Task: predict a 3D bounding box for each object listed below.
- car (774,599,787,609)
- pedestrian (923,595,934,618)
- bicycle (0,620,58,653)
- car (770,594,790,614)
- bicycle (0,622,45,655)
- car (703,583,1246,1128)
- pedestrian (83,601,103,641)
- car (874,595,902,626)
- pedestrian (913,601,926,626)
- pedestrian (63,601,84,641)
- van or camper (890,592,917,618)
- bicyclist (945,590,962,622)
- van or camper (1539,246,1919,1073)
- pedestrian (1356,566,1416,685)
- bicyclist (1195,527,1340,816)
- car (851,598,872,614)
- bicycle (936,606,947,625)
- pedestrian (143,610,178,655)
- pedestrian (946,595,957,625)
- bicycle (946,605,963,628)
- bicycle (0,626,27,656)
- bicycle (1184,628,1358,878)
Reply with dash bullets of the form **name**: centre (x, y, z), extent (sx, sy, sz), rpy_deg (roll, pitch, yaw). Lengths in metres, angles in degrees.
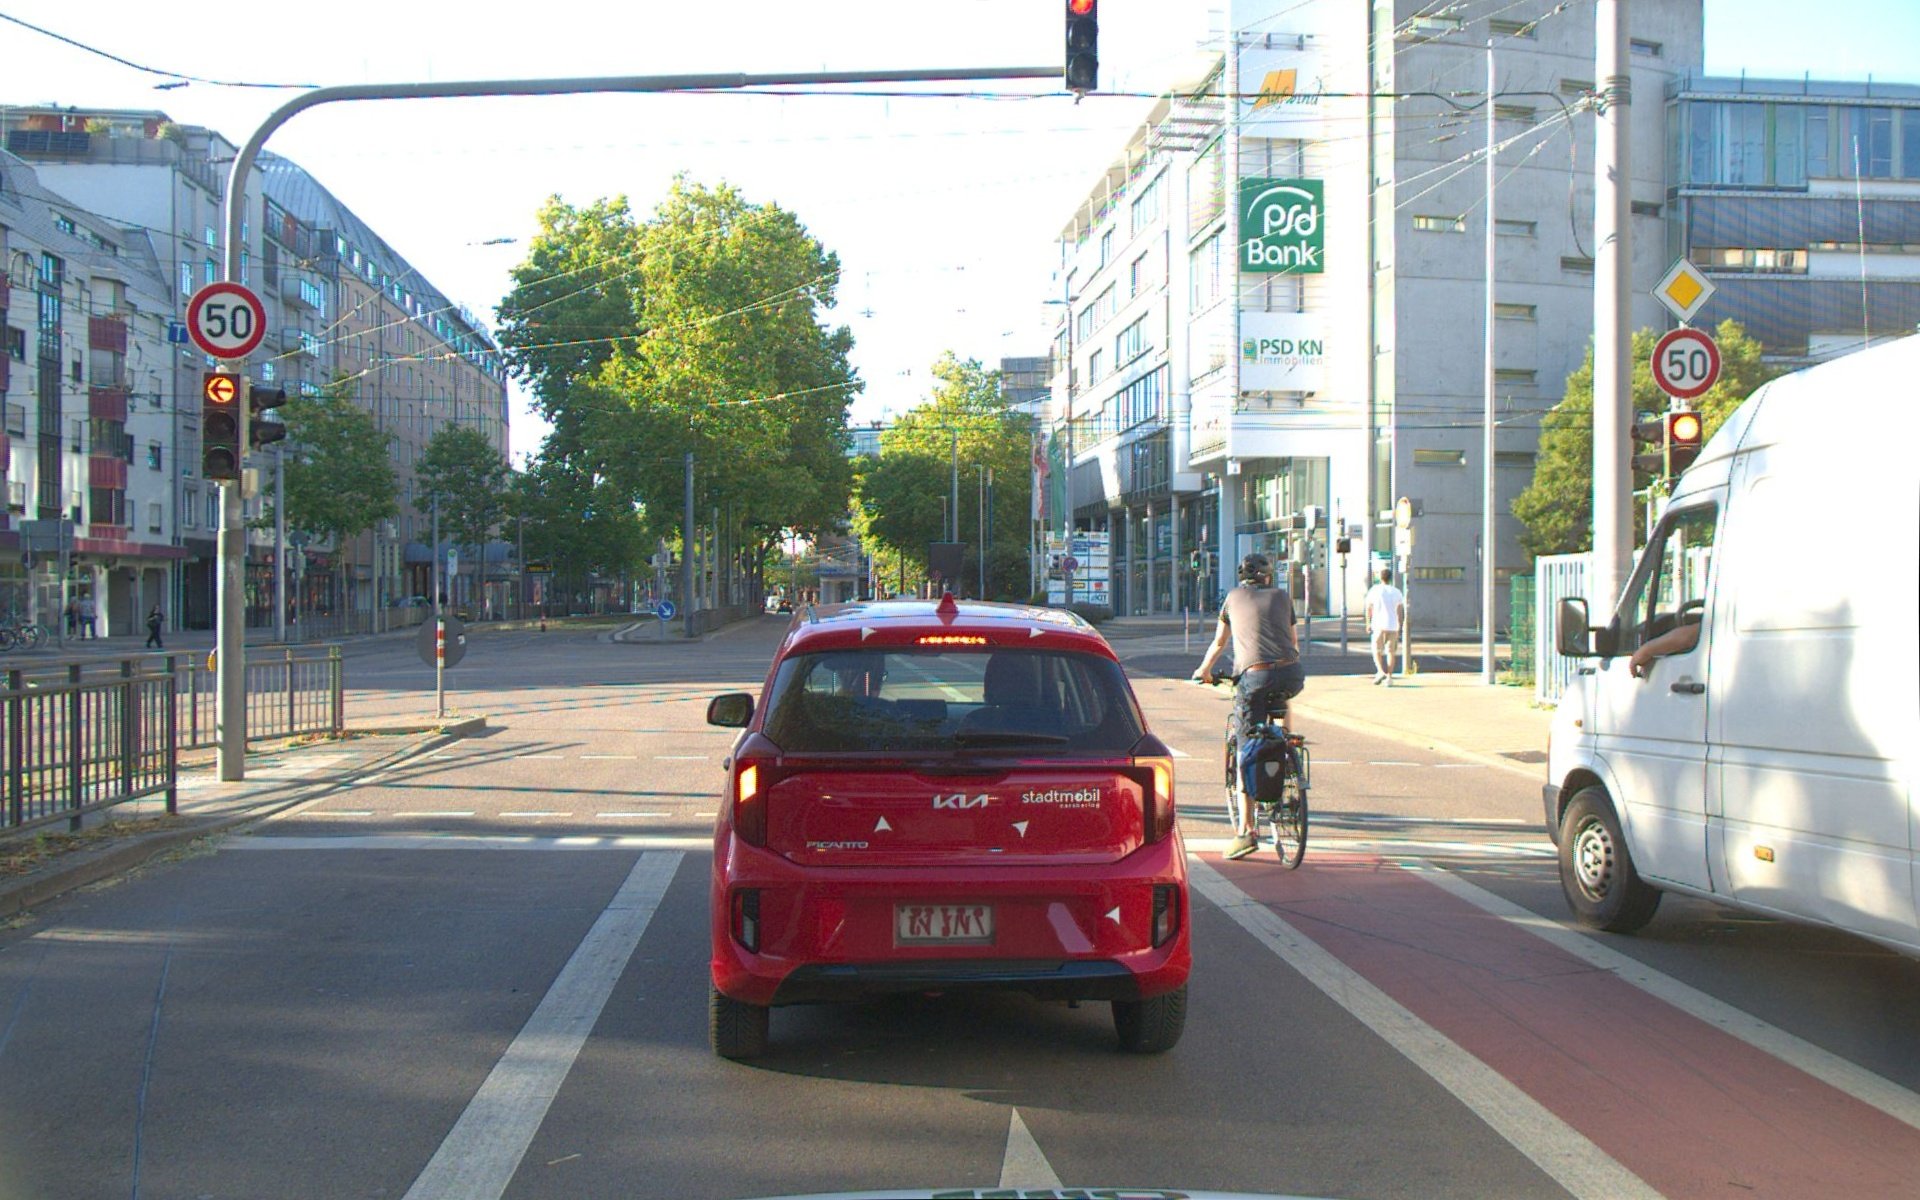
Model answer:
- **car**: centre (-27.766, 0.663, 255.404), extent (1.745, 1.561, 3.403), rpy_deg (0, 0, -10)
- **pedestrian**: centre (-2.462, 0.490, 130.291), extent (0.873, 1.783, 0.841), rpy_deg (0, 0, -1)
- **bicycle**: centre (-29.543, 1.153, 52.165), extent (1.808, 1.002, 0.552), rpy_deg (0, 0, -8)
- **car**: centre (-19.041, 0.441, 175.146), extent (1.956, 2.049, 3.992), rpy_deg (0, 0, -8)
- **bicycle**: centre (-29.600, 1.210, 51.549), extent (1.808, 1.002, 0.552), rpy_deg (0, 0, -8)
- **car**: centre (-0.099, 0.733, 6.520), extent (1.582, 1.561, 3.408), rpy_deg (0, 0, -5)
- **pedestrian**: centre (-33.336, 0.819, 63.600), extent (0.524, 1.520, 0.586), rpy_deg (0, 0, -9)
- **car**: centre (-4.413, 0.619, 101.144), extent (1.603, 1.831, 3.327), rpy_deg (-1, 0, -3)
- **pedestrian**: centre (-2.778, 0.925, 113.220), extent (0.628, 1.607, 0.724), rpy_deg (-4, 0, 18)
- **pedestrian**: centre (-34.024, 0.807, 63.465), extent (0.524, 1.520, 0.586), rpy_deg (0, 0, -9)
- **van or camper**: centre (-4.536, 0.410, 132.219), extent (1.954, 2.024, 4.740), rpy_deg (0, 0, -4)
- **bicyclist**: centre (-0.336, 0.326, 87.177), extent (0.708, 1.631, 1.087), rpy_deg (-3, 0, -5)
- **van or camper**: centre (4.179, 0.203, 5.493), extent (1.930, 2.763, 6.300), rpy_deg (1, 0, -4)
- **pedestrian**: centre (6.799, 0.394, 26.430), extent (0.761, 1.855, 1.216), rpy_deg (0, 0, 6)
- **bicyclist**: centre (1.819, 0.404, 9.910), extent (0.637, 1.631, 1.088), rpy_deg (0, 0, -1)
- **car**: centre (-10.137, 0.632, 170.074), extent (1.745, 1.561, 3.504), rpy_deg (0, 0, -10)
- **bicycle**: centre (-1.077, 0.888, 96.478), extent (0.510, 0.991, 2.202), rpy_deg (-4, 1, 2)
- **pedestrian**: centre (-28.215, 1.134, 58.358), extent (1.027, 1.571, 0.692), rpy_deg (-1, 0, 34)
- **pedestrian**: centre (-0.493, 0.571, 96.503), extent (0.633, 1.710, 0.651), rpy_deg (0, 0, 0)
- **bicycle**: centre (-0.303, 0.865, 87.168), extent (0.683, 1.117, 1.749), rpy_deg (-4, 1, -5)
- **bicycle**: centre (-29.451, 1.251, 50.285), extent (1.806, 0.869, 0.553), rpy_deg (0, 0, -4)
- **bicycle**: centre (1.816, 0.844, 9.933), extent (0.637, 1.303, 1.965), rpy_deg (0, 0, -1)
